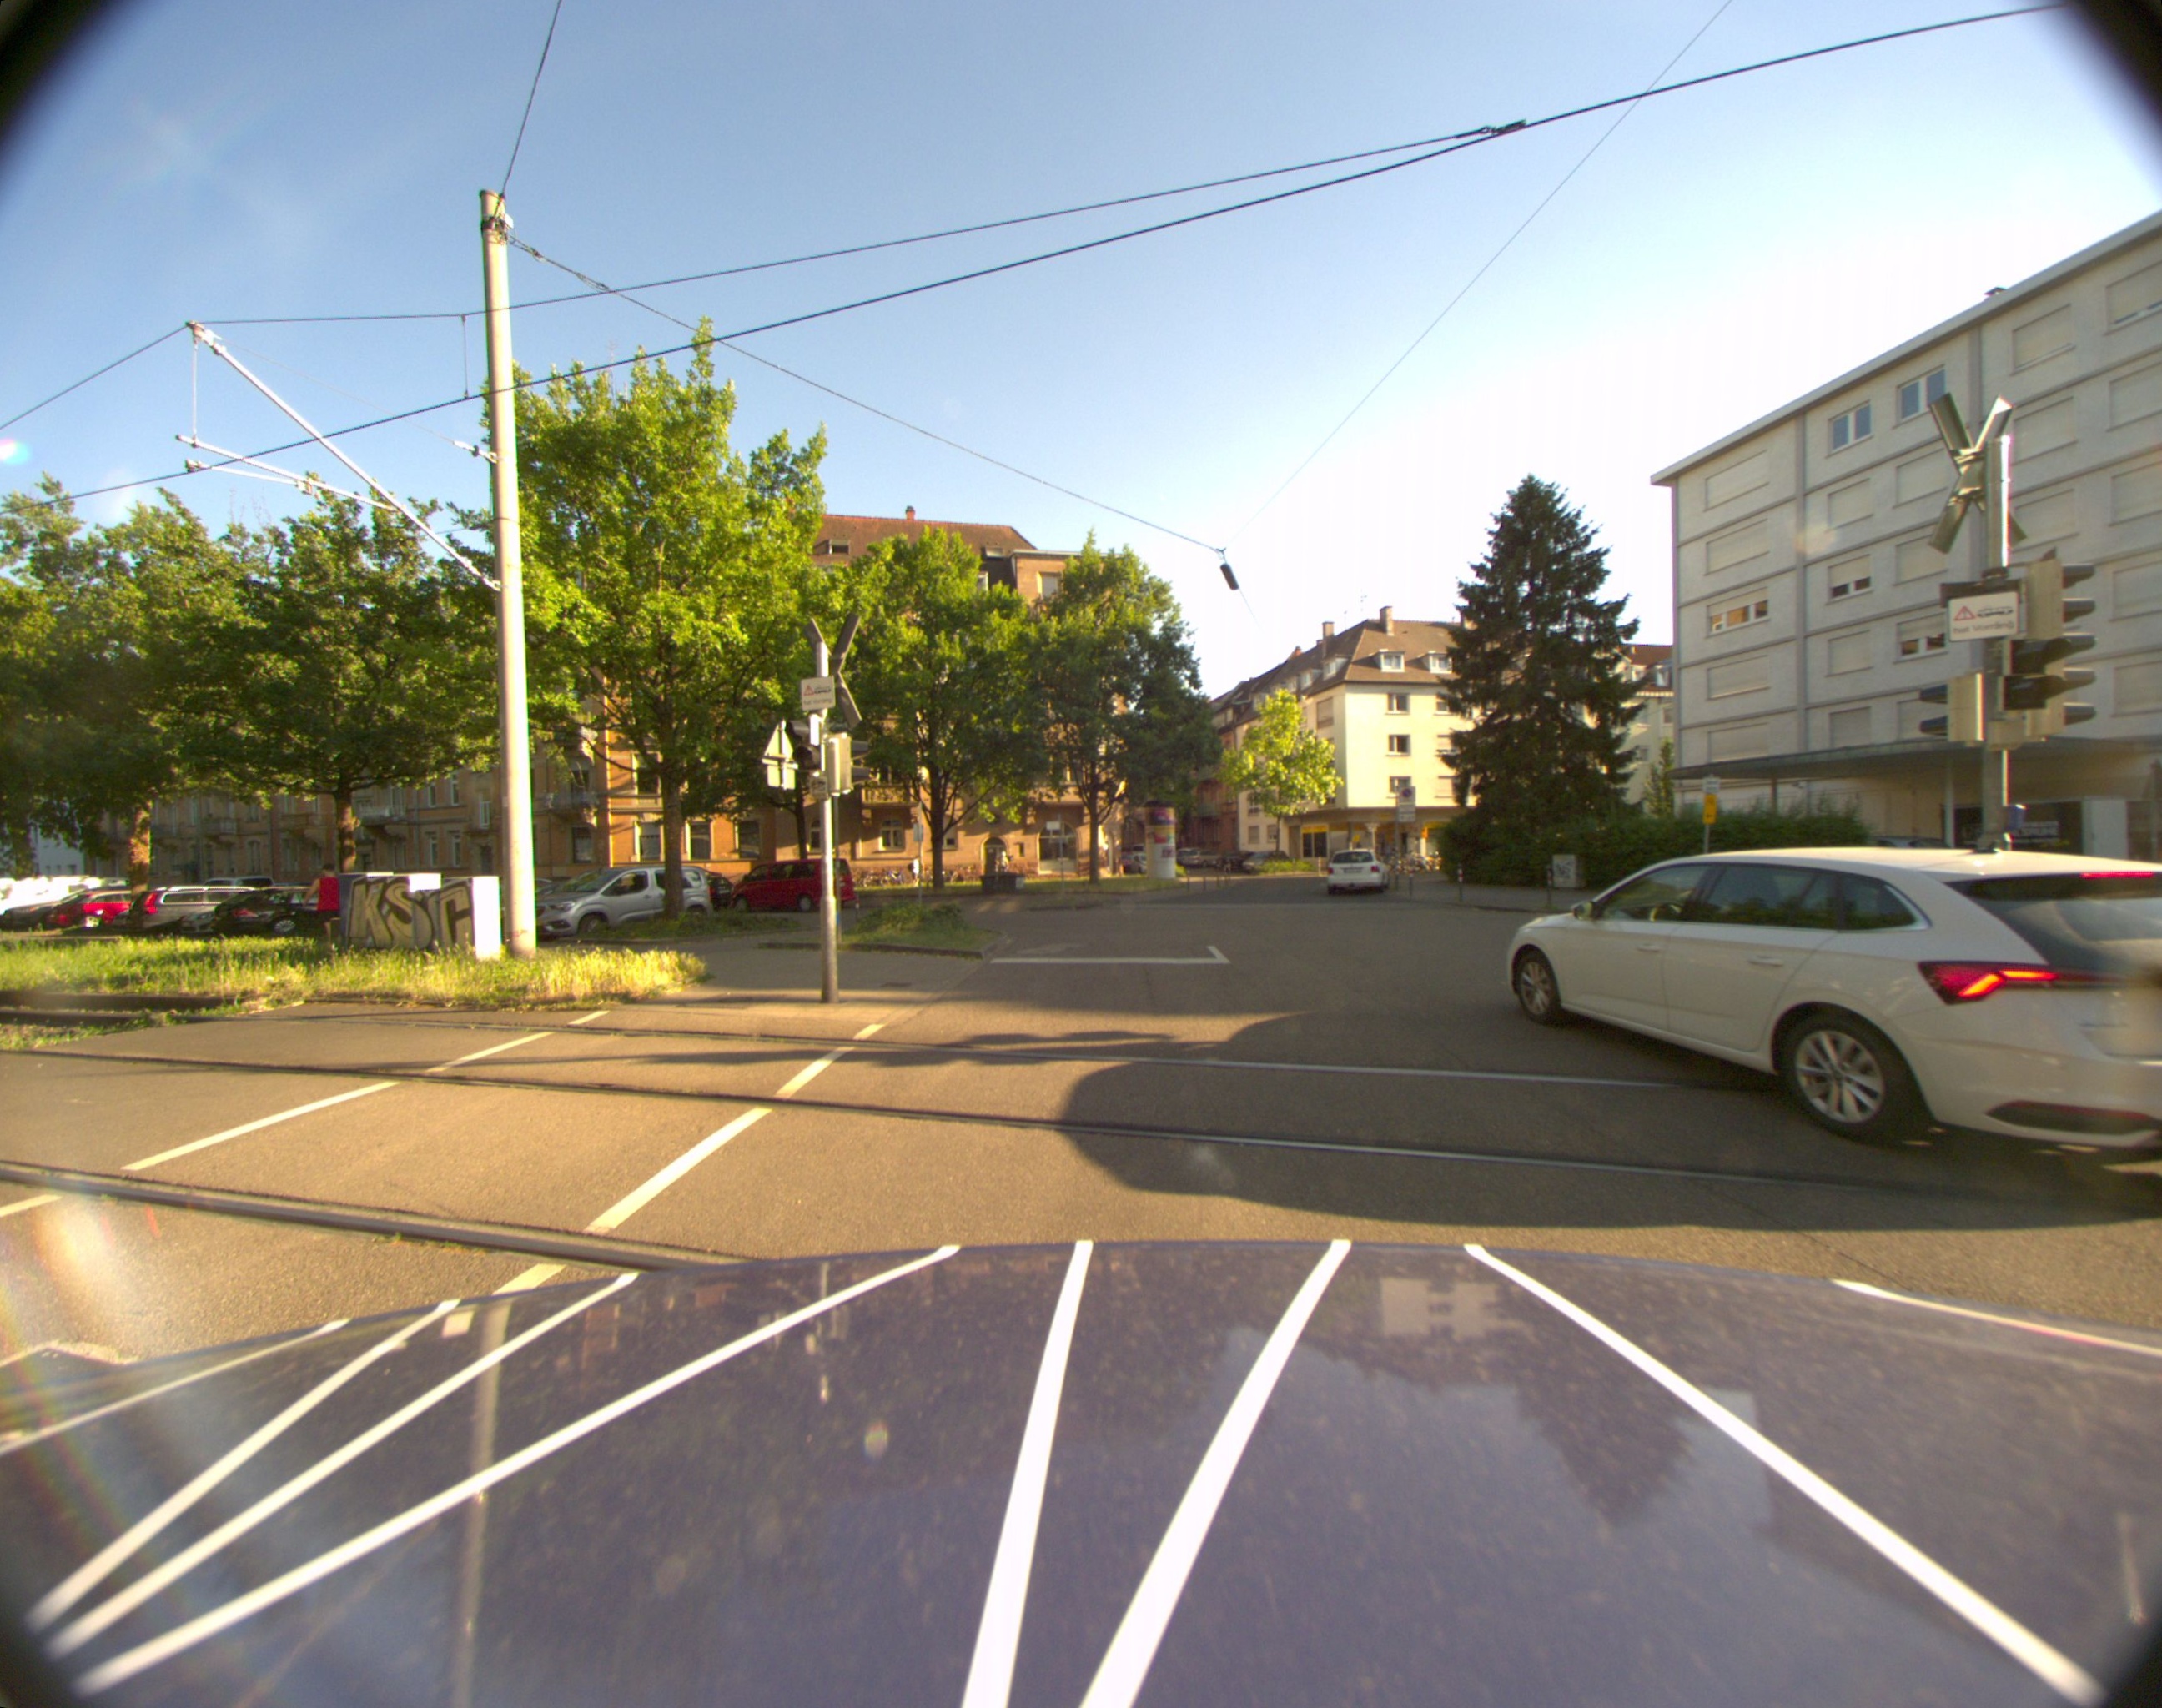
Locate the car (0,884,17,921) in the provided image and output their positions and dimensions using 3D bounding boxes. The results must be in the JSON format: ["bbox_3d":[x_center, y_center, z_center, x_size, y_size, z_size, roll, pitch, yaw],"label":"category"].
[{"bbox_3d":[-54.981,2.421,36.597,1.680,1.821,4.007,-1,0,23],"label":"car"}]

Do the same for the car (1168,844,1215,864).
[{"bbox_3d":[9.788,0.016,66.953,4.008,1.626,1.868,-2,1,-41],"label":"car"}]

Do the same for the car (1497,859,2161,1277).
[{"bbox_3d":[4.545,0.793,4.768,1.706,1.448,4.063,-2,0,2],"label":"car"}]

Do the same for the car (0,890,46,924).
[{"bbox_3d":[-50.802,2.484,34.634,1.680,1.480,4.007,-1,0,23],"label":"car"}]

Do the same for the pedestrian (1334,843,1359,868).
[{"bbox_3d":[18.017,0.105,51.539,1.215,1.657,0.963,-2,1,-11],"label":"pedestrian"}]

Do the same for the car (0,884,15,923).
[{"bbox_3d":[-52.978,2.384,35.120,1.680,1.821,4.007,-1,0,23],"label":"car"}]

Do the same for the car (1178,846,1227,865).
[{"bbox_3d":[10.247,0.145,63.788,4.008,1.496,1.868,-2,1,-41],"label":"car"}]

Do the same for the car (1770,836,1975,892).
[{"bbox_3d":[24.293,0.276,23.560,2.000,1.524,3.997,-2,0,-8],"label":"car"}]

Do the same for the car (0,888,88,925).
[{"bbox_3d":[-48.050,2.381,34.030,1.680,1.480,4.007,-1,0,23],"label":"car"}]

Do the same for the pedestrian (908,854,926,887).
[{"bbox_3d":[-8.797,0.878,40.747,0.912,1.708,0.675,-2,2,-12],"label":"pedestrian"}]

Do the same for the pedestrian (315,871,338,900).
[{"bbox_3d":[-46.248,1.915,46.572,0.720,1.709,0.676,-1,3,23],"label":"pedestrian"}]

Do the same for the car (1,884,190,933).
[{"bbox_3d":[-37.119,2.004,28.773,1.762,1.570,4.006,-1,0,21],"label":"car"}]

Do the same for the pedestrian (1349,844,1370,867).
[{"bbox_3d":[19.112,0.083,52.131,0.964,1.560,0.890,-2,1,-10],"label":"pedestrian"}]

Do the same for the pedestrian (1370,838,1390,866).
[{"bbox_3d":[20.386,-0.129,51.860,0.891,1.864,0.851,-2,1,-12],"label":"pedestrian"}]

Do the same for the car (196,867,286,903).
[{"bbox_3d":[-48.987,1.795,44.299,4.714,1.872,1.915,-2,3,22],"label":"car"}]

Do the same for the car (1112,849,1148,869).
[{"bbox_3d":[3.691,0.380,57.956,1.874,1.392,3.996,-2,0,-10],"label":"car"}]

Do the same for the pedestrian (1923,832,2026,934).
[{"bbox_3d":[15.662,0.491,13.350,0.869,1.726,0.832,-1,2,22],"label":"pedestrian"}]

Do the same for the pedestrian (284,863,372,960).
[{"bbox_3d":[-15.431,1.146,15.581,1.147,1.907,0.907,-1,-1,23],"label":"pedestrian"}]

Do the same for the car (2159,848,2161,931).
[{"bbox_3d":[20.420,0.554,11.797,3.992,1.437,1.719,-2,-1,18],"label":"car"}]

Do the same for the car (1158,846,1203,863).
[{"bbox_3d":[9.167,0.020,69.704,4.008,1.392,1.868,-2,1,-41],"label":"car"}]

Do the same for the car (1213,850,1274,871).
[{"bbox_3d":[11.714,0.461,54.651,4.006,1.392,1.869,-2,0,-29],"label":"car"}]

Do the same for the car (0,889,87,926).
[{"bbox_3d":[-45.920,2.306,32.358,1.680,1.480,4.007,-1,0,23],"label":"car"}]

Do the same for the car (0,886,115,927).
[{"bbox_3d":[-43.573,2.175,31.526,1.680,1.544,4.007,-1,0,23],"label":"car"}]

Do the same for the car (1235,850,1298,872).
[{"bbox_3d":[12.825,0.473,52.442,4.006,1.392,1.869,-2,0,-29],"label":"car"}]

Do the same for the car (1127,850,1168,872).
[{"bbox_3d":[4.609,0.474,53.052,1.874,1.392,3.996,-2,0,-10],"label":"car"}]

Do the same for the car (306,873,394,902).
[{"bbox_3d":[-39.000,1.798,40.526,4.279,1.376,1.771,-2,3,24],"label":"car"}]

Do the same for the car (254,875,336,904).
[{"bbox_3d":[-43.733,1.984,42.283,3.879,1.430,1.771,-2,3,22],"label":"car"}]

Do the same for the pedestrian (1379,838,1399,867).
[{"bbox_3d":[20.679,-0.105,50.995,0.891,1.864,0.851,-2,1,-12],"label":"pedestrian"}]

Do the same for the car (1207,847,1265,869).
[{"bbox_3d":[11.822,0.272,57.968,4.005,1.559,1.869,-2,1,-26],"label":"car"}]

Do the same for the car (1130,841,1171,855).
[{"bbox_3d":[7.169,-0.608,78.004,4.008,1.392,1.868,-2,1,-41],"label":"car"}]
